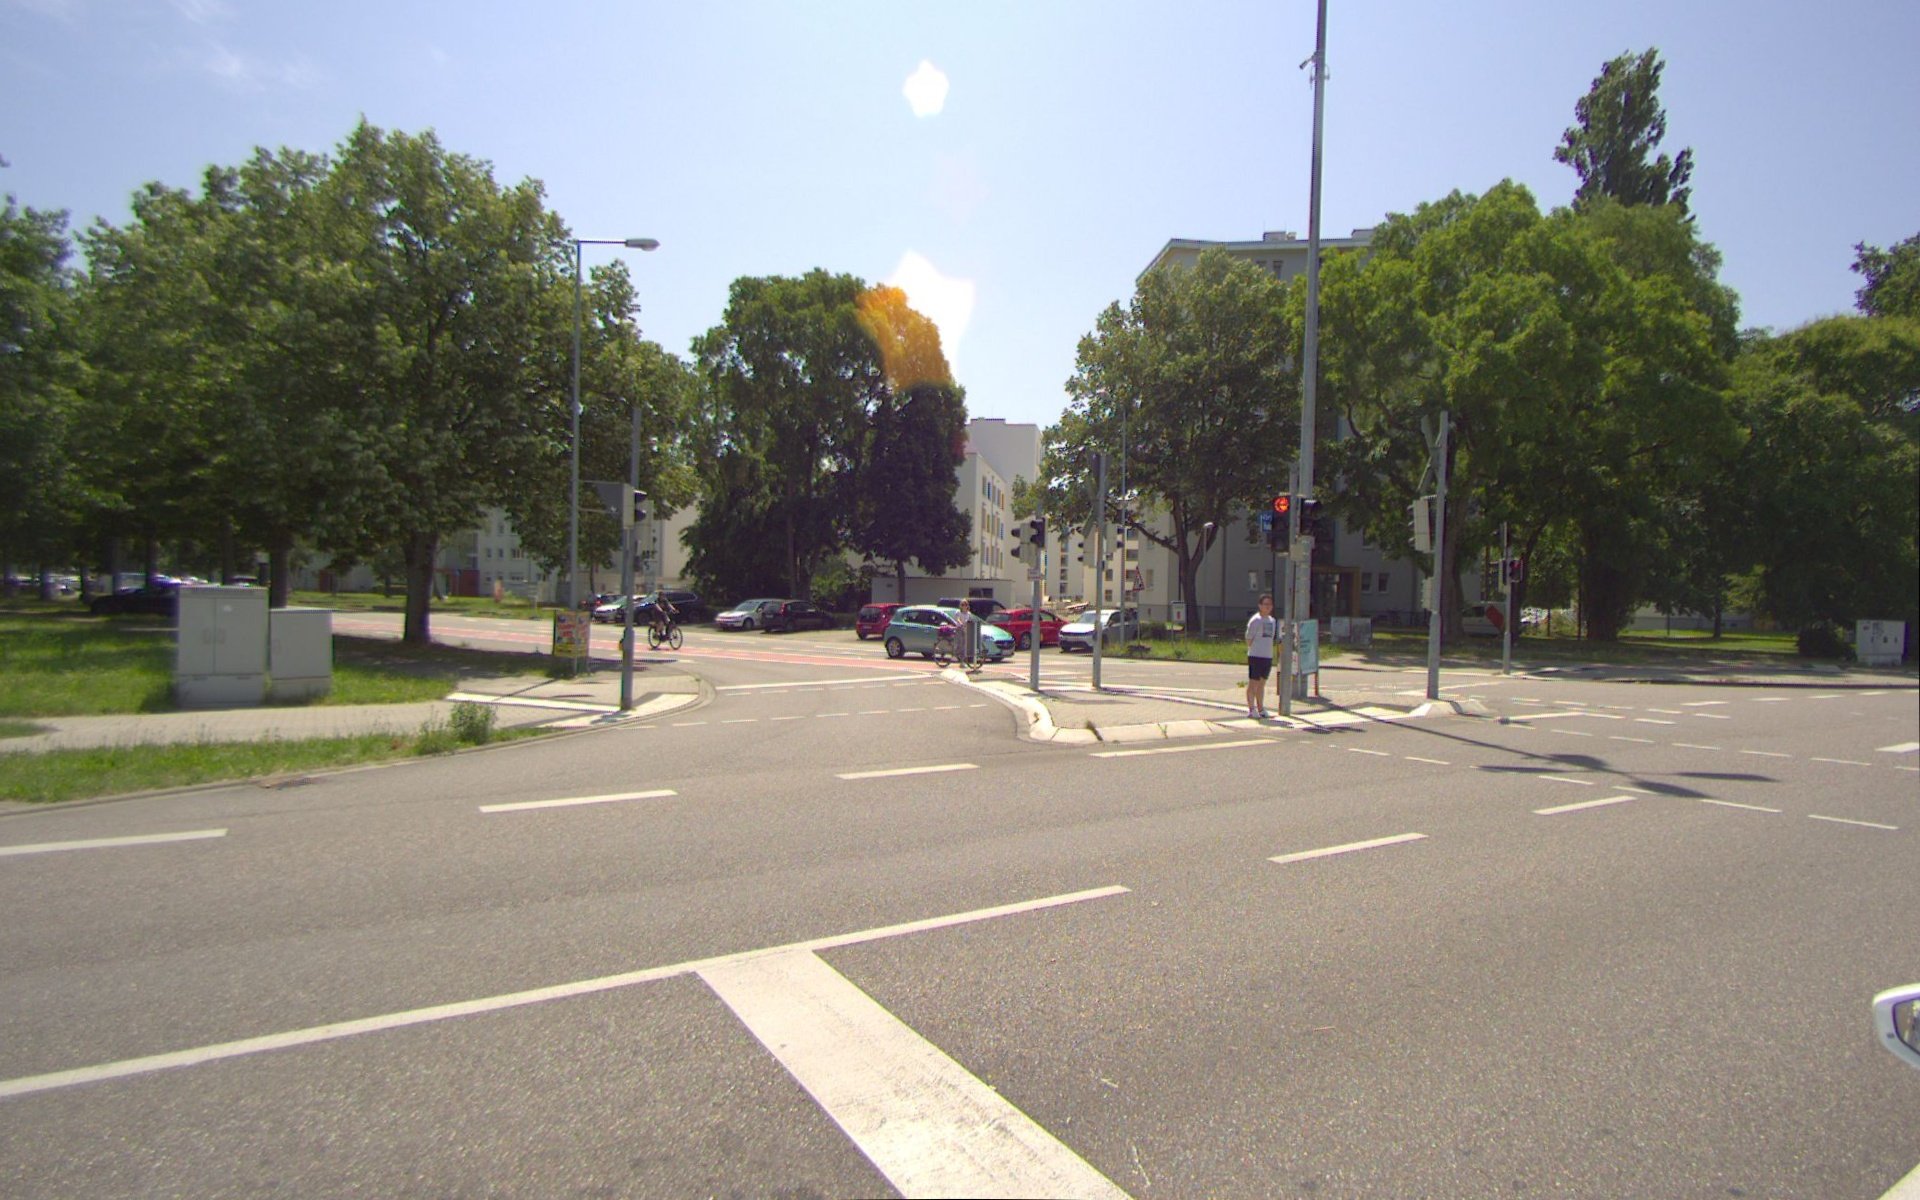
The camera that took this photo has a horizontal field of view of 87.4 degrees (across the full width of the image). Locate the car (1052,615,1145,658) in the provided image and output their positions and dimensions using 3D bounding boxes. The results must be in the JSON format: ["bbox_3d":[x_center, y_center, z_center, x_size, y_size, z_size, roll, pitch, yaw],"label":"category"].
[{"bbox_3d":[5.155,1.296,37.123,1.604,1.399,3.983,3,1,38],"label":"car"}]

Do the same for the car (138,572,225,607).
[{"bbox_3d":[-48.609,-0.648,62.767,1.970,2.041,3.981,6,3,40],"label":"car"}]

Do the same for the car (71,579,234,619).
[{"bbox_3d":[-31.248,-0.033,39.013,4.505,1.487,1.995,0,0,-13],"label":"car"}]

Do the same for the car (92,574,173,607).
[{"bbox_3d":[-56.690,-0.647,68.868,1.969,2.041,3.982,6,3,39],"label":"car"}]

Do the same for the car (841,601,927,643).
[{"bbox_3d":[-3.273,0.933,43.781,1.819,1.690,3.993,1,0,29],"label":"car"}]

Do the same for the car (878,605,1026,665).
[{"bbox_3d":[-0.257,0.928,28.055,3.834,1.488,1.769,2,1,36],"label":"car"}]

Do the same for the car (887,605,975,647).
[{"bbox_3d":[-1.153,1.043,42.098,1.680,1.613,3.989,3,1,33],"label":"car"}]

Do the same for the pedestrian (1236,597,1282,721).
[{"bbox_3d":[4.218,0.812,14.163,0.481,1.710,0.380,1,1,-34],"label":"pedestrian"}]

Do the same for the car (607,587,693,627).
[{"bbox_3d":[-16.310,0.375,52.932,1.822,1.974,3.984,3,1,37],"label":"car"}]

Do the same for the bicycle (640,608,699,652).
[{"bbox_3d":[-9.252,0.932,31.950,2.028,1.317,0.770,1,0,38],"label":"bicycle"}]

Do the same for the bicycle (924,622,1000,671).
[{"bbox_3d":[0.039,1.135,24.744,1.840,1.108,0.644,1,0,38],"label":"bicycle"}]

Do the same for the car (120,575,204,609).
[{"bbox_3d":[-52.162,-0.512,65.696,1.969,2.041,3.982,6,3,39],"label":"car"}]

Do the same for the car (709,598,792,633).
[{"bbox_3d":[-10.173,0.755,48.943,1.667,1.583,3.823,1,0,37],"label":"car"}]

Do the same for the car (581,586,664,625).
[{"bbox_3d":[-18.404,0.284,54.898,1.822,1.974,3.984,3,1,37],"label":"car"}]

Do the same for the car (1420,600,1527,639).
[{"bbox_3d":[25.958,0.970,50.896,4.456,1.791,1.793,1,0,10],"label":"car"}]

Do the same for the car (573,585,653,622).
[{"bbox_3d":[-19.816,0.212,57.458,1.822,1.974,3.984,3,1,37],"label":"car"}]

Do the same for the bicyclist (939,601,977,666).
[{"bbox_3d":[-0.048,0.817,24.804,0.655,1.557,0.629,2,0,38],"label":"bicyclist"}]

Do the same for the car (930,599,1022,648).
[{"bbox_3d":[0.707,0.934,40.710,1.682,1.825,3.984,3,1,37],"label":"car"}]

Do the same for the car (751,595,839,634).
[{"bbox_3d":[-7.807,0.698,47.855,1.823,1.734,3.985,1,0,37],"label":"car"}]

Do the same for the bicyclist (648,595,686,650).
[{"bbox_3d":[-9.340,0.720,32.014,0.884,1.715,0.770,2,0,38],"label":"bicyclist"}]

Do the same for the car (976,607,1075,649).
[{"bbox_3d":[2.557,1.052,38.663,1.600,1.483,3.976,3,1,43],"label":"car"}]
